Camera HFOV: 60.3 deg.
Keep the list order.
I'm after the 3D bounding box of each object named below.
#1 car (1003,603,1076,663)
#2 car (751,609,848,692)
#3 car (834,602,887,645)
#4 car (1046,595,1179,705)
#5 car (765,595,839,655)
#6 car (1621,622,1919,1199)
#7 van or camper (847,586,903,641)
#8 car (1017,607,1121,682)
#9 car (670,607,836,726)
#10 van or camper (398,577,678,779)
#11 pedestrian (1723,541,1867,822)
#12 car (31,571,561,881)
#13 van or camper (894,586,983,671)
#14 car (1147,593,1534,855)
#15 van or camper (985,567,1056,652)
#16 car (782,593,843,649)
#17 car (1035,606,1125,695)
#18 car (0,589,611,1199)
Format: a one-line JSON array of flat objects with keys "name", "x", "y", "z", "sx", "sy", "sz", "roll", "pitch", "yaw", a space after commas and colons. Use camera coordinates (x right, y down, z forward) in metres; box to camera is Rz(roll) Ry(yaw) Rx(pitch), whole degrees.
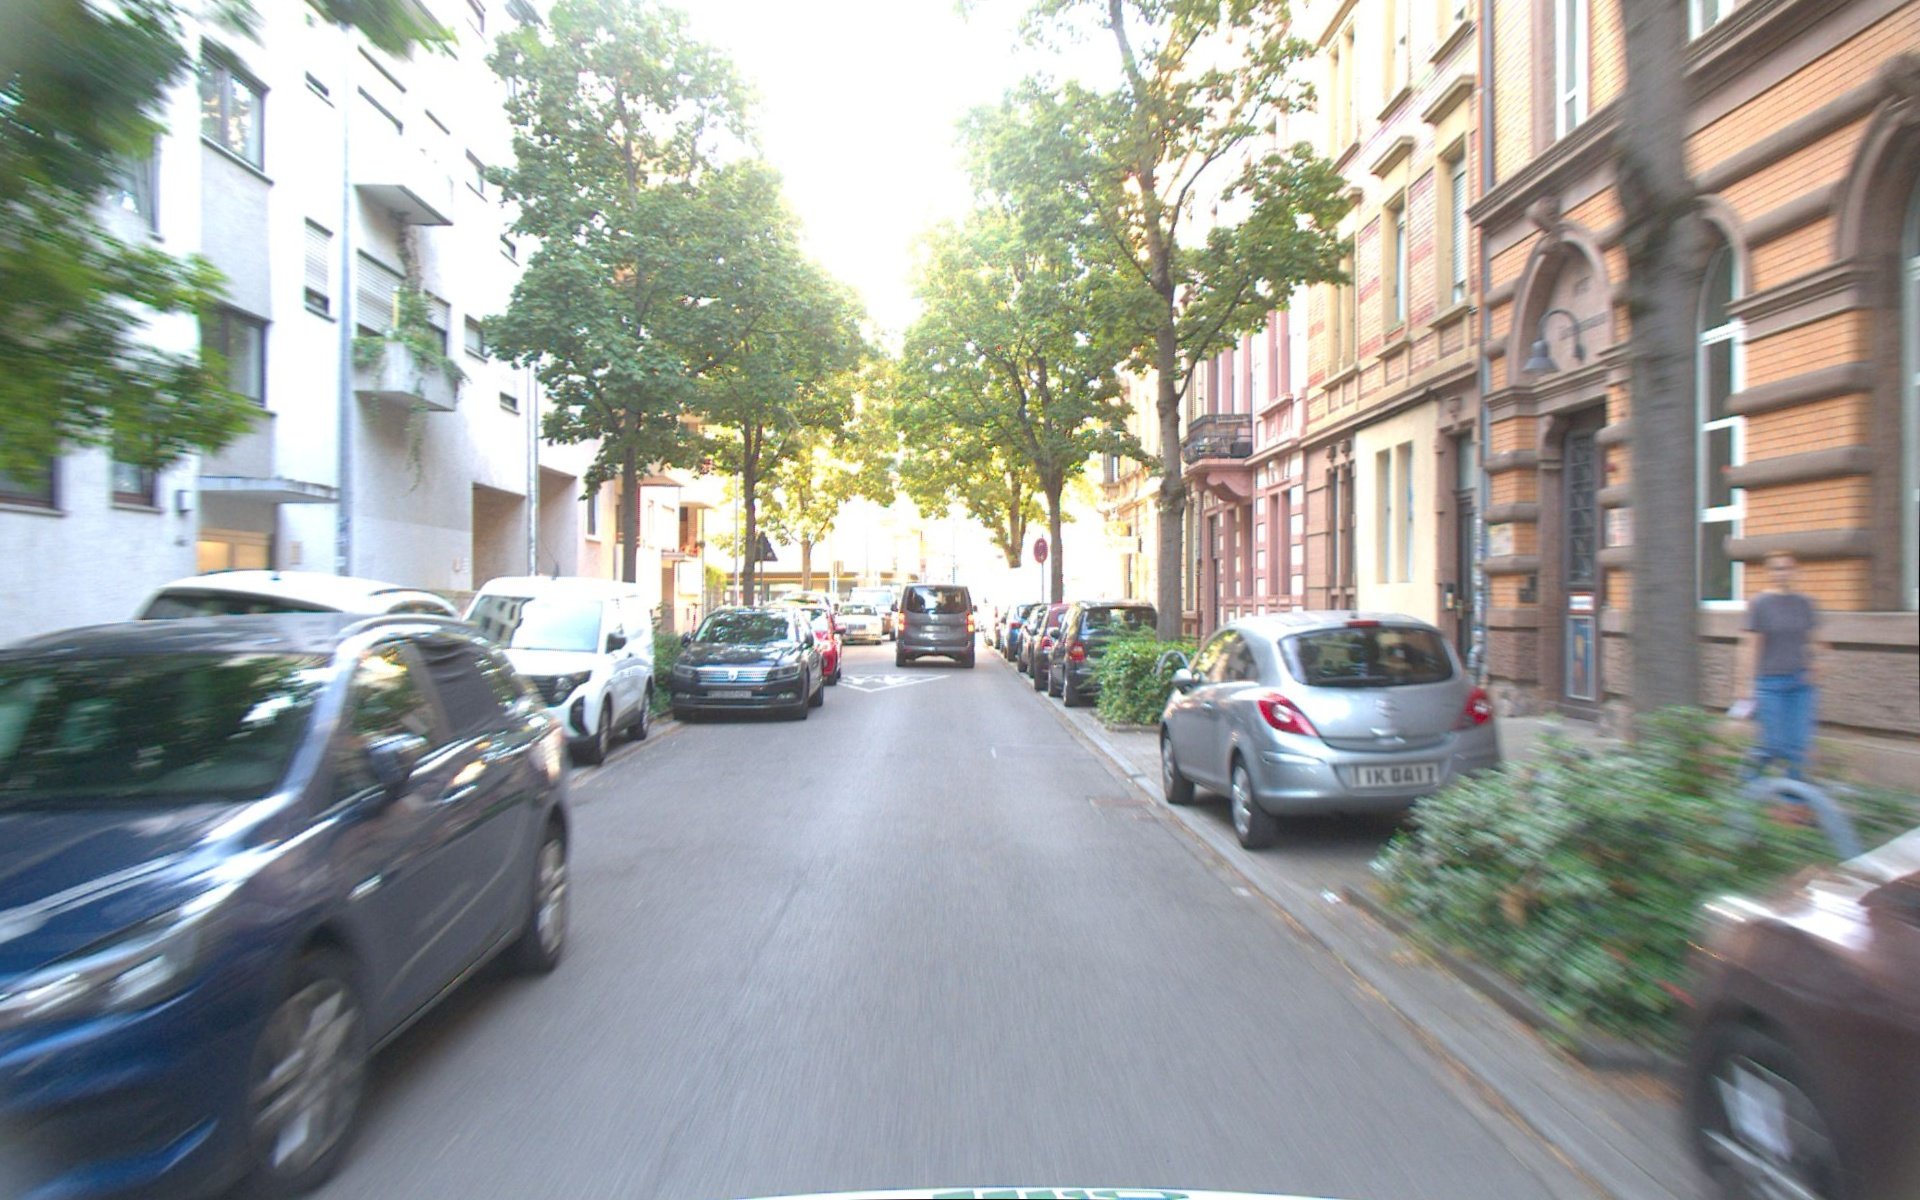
[{"name": "car", "x": 2.037, "y": 0.819, "z": 43.184, "sx": 1.714, "sy": 1.497, "sz": 3.775, "roll": 0, "pitch": 0, "yaw": 0}, {"name": "car", "x": -3.015, "y": 0.919, "z": 31.654, "sx": 1.597, "sy": 1.455, "sz": 3.541, "roll": -1, "pitch": 0, "yaw": -2}, {"name": "car", "x": -3.455, "y": 0.810, "z": 57.949, "sx": 1.706, "sy": 1.429, "sz": 3.374, "roll": -1, "pitch": 0, "yaw": -1}, {"name": "car", "x": 2.333, "y": 0.729, "z": 26.163, "sx": 1.579, "sy": 1.586, "sz": 3.764, "roll": -1, "pitch": 0, "yaw": -3}, {"name": "car", "x": -4.671, "y": 0.720, "z": 49.375, "sx": 1.858, "sy": 1.665, "sz": 4.155, "roll": 1, "pitch": 0, "yaw": -1}, {"name": "car", "x": 2.627, "y": 0.780, "z": 2.255, "sx": 1.687, "sy": 1.475, "sz": 4.213, "roll": -1, "pitch": 0, "yaw": -1}, {"name": "van or camper", "x": -3.206, "y": 0.502, "z": 63.058, "sx": 1.824, "sy": 2.018, "sz": 4.271, "roll": -1, "pitch": 0, "yaw": 0}, {"name": "car", "x": 2.205, "y": 0.882, "z": 34.329, "sx": 1.681, "sy": 1.428, "sz": 3.811, "roll": -1, "pitch": 0, "yaw": -4}, {"name": "car", "x": -2.810, "y": 0.860, "z": 23.391, "sx": 1.809, "sy": 1.477, "sz": 4.502, "roll": 0, "pitch": 0, "yaw": -1}, {"name": "van or camper", "x": -4.309, "y": 0.719, "z": 17.635, "sx": 1.892, "sy": 1.790, "sz": 4.463, "roll": 3, "pitch": 0, "yaw": -2}, {"name": "pedestrian", "x": 5.118, "y": 0.487, "z": 10.159, "sx": 0.614, "sy": 1.677, "sz": 0.532, "roll": 0, "pitch": 0, "yaw": -1}, {"name": "car", "x": -4.409, "y": 0.724, "z": 11.926, "sx": 1.993, "sy": 1.701, "sz": 4.646, "roll": 3, "pitch": 0, "yaw": -2}, {"name": "van or camper", "x": -0.459, "y": 0.644, "z": 39.526, "sx": 1.993, "sy": 1.931, "sz": 4.271, "roll": 0, "pitch": 0, "yaw": 1}, {"name": "car", "x": 2.528, "y": 0.751, "z": 11.983, "sx": 1.664, "sy": 1.508, "sz": 3.998, "roll": -2, "pitch": 0, "yaw": -3}, {"name": "van or camper", "x": 1.928, "y": 0.308, "z": 54.165, "sx": 1.953, "sy": 2.644, "sz": 5.422, "roll": 0, "pitch": 0, "yaw": -2}, {"name": "car", "x": -4.804, "y": 0.662, "z": 54.198, "sx": 1.706, "sy": 1.742, "sz": 3.374, "roll": 1, "pitch": 0, "yaw": -1}, {"name": "car", "x": 2.160, "y": 0.883, "z": 30.457, "sx": 1.518, "sy": 1.523, "sz": 3.611, "roll": 0, "pitch": 0, "yaw": 2}, {"name": "car", "x": -2.507, "y": 0.765, "z": 5.613, "sx": 1.793, "sy": 1.544, "sz": 4.514, "roll": 0, "pitch": 0, "yaw": -2}]
